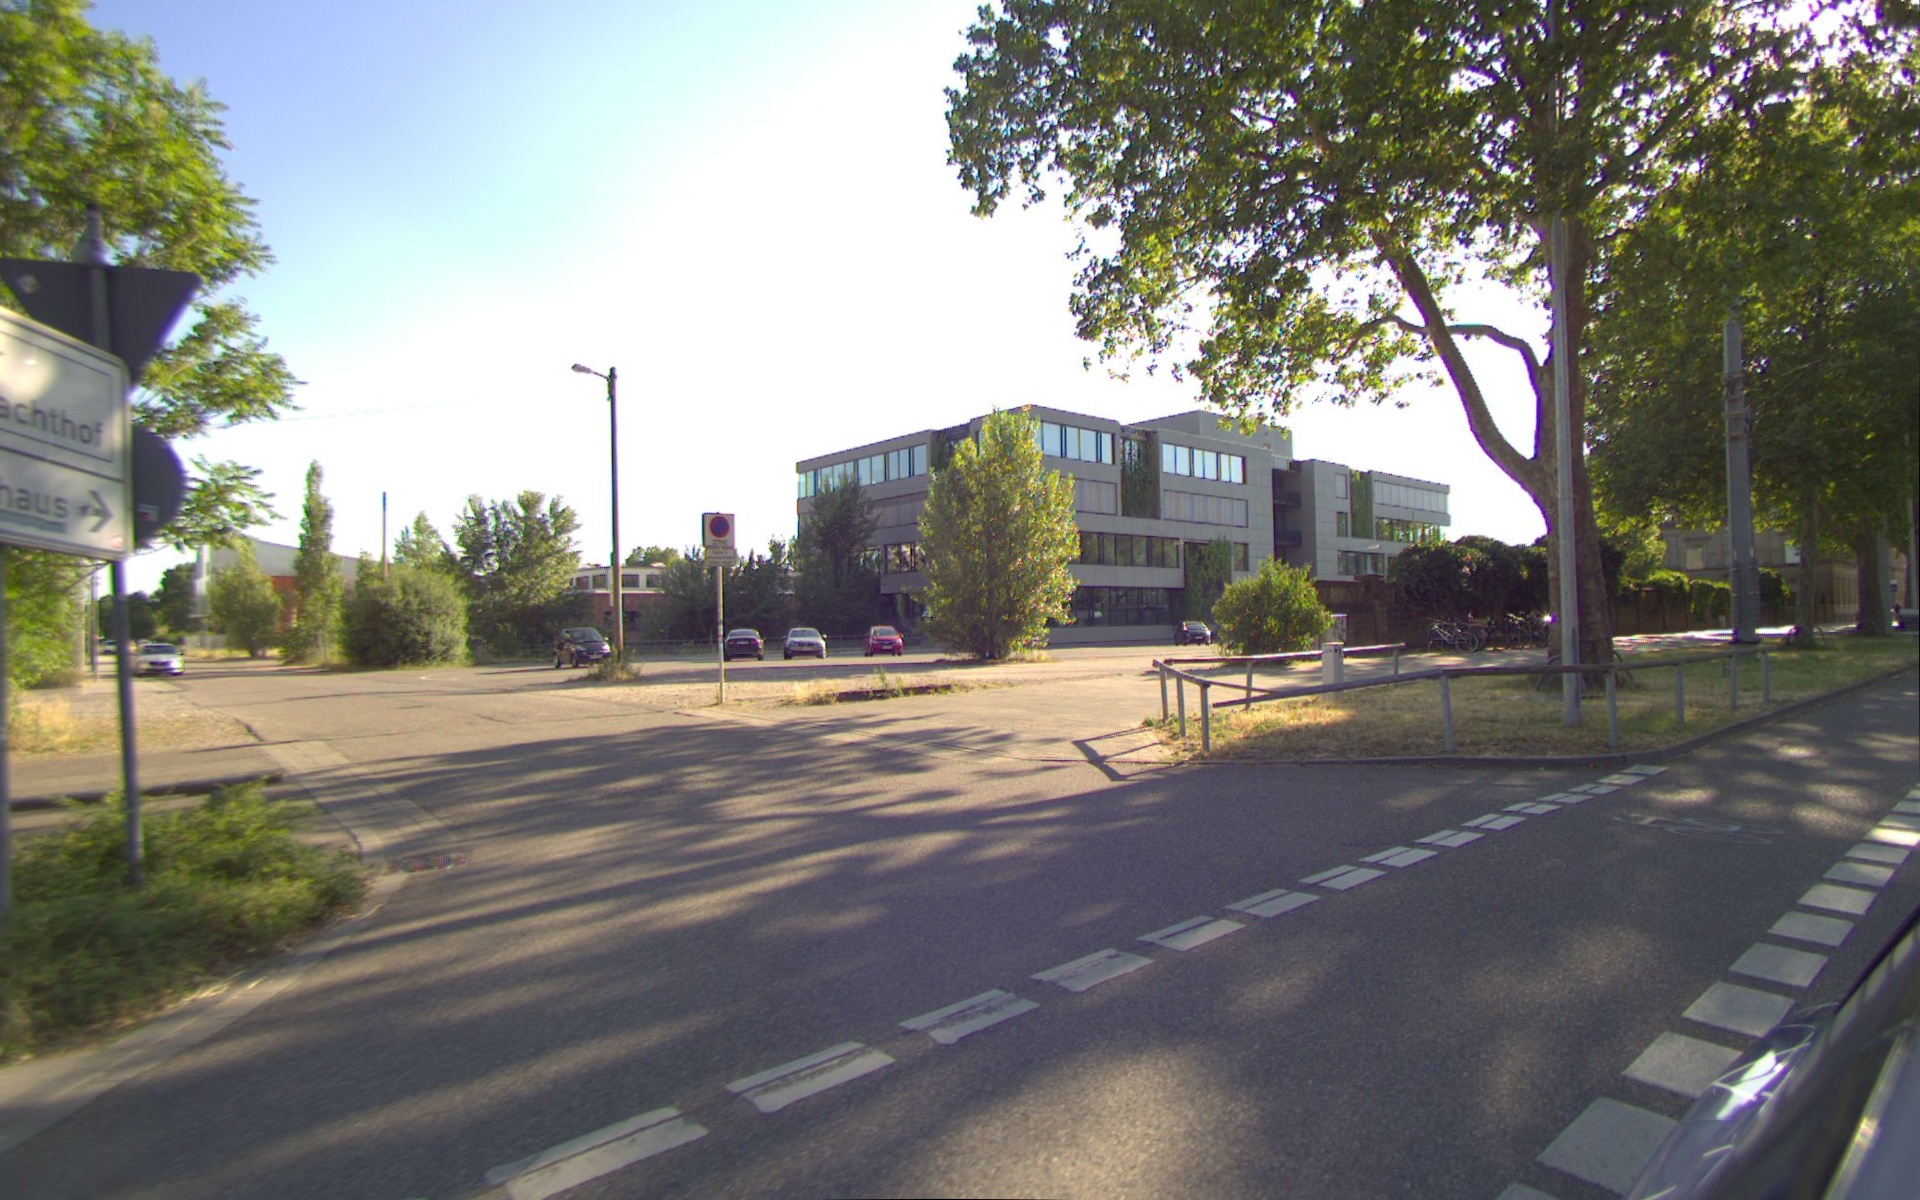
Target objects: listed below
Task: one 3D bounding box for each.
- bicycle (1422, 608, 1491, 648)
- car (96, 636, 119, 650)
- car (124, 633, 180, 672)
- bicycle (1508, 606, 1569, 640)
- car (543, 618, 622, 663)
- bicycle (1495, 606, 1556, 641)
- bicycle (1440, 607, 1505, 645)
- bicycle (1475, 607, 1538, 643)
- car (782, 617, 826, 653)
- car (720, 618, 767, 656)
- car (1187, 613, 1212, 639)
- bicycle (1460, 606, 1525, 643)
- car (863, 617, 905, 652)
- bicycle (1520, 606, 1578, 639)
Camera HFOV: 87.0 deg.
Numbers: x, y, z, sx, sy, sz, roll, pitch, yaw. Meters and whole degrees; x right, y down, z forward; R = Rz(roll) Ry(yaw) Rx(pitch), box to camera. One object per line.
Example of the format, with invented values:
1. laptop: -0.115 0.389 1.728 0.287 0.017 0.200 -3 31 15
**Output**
1. bicycle: 14.641 0.802 29.848 1.772 1.134 0.433 0 -1 43
2. car: -104.985 5.306 124.625 1.847 1.632 4.364 0 -1 -36
3. car: -36.634 2.329 45.855 1.850 1.632 4.358 0 -1 -41
4. bicycle: 19.942 0.787 34.935 0.432 1.134 1.775 0 0 -41
5. car: -15.152 1.593 40.485 1.825 1.632 4.363 0 -1 -37
6. bicycle: 19.192 0.781 34.377 0.432 1.134 1.775 0 0 -41
7. bicycle: 16.013 0.795 31.645 0.432 1.134 1.775 0 0 -41
8. bicycle: 17.731 0.799 32.859 0.432 1.134 1.775 0 0 -41
9. car: -7.469 1.647 48.274 1.959 1.610 4.372 -1 -1 -9
10. car: -9.845 1.642 46.238 1.821 1.632 4.371 -1 -1 -8
11. car: 16.287 1.752 68.748 1.626 1.686 3.649 -2 -1 14
12. bicycle: 16.886 0.750 32.119 0.432 1.134 1.775 0 0 -41
13. car: -3.914 1.732 51.599 1.844 1.632 4.371 -1 -1 -8
14. bicycle: 20.726 0.782 35.631 0.432 1.134 1.690 0 0 -41
